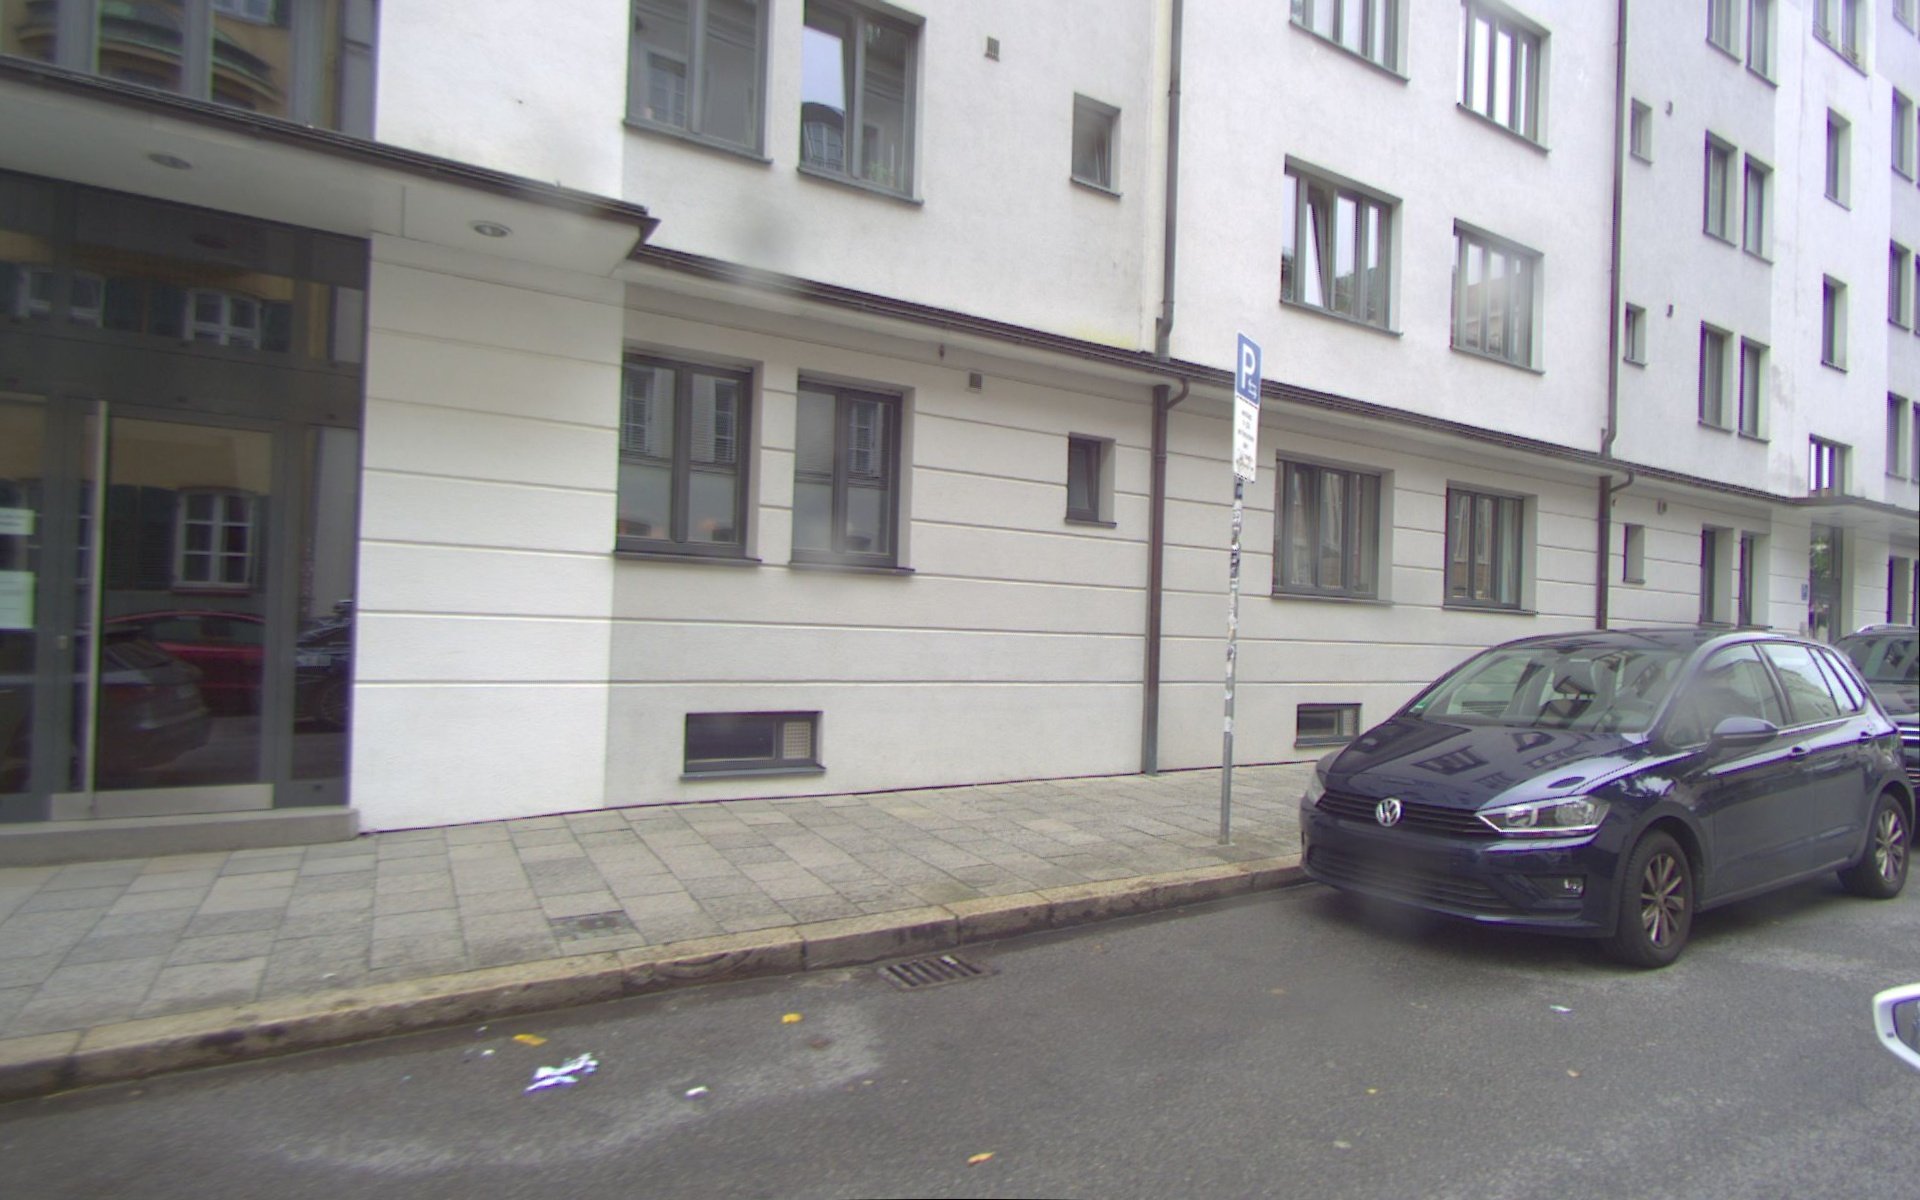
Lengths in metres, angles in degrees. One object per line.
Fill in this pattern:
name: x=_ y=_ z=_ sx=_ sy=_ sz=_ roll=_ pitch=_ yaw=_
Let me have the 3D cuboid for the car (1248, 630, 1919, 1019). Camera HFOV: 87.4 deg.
car: x=3.804 y=0.979 z=5.883 sx=4.111 sy=1.559 sz=1.765 roll=2 pitch=-2 yaw=-31

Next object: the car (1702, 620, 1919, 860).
car: x=8.577 y=1.068 z=8.723 sx=4.468 sy=1.710 sz=1.863 roll=2 pitch=-2 yaw=-31
